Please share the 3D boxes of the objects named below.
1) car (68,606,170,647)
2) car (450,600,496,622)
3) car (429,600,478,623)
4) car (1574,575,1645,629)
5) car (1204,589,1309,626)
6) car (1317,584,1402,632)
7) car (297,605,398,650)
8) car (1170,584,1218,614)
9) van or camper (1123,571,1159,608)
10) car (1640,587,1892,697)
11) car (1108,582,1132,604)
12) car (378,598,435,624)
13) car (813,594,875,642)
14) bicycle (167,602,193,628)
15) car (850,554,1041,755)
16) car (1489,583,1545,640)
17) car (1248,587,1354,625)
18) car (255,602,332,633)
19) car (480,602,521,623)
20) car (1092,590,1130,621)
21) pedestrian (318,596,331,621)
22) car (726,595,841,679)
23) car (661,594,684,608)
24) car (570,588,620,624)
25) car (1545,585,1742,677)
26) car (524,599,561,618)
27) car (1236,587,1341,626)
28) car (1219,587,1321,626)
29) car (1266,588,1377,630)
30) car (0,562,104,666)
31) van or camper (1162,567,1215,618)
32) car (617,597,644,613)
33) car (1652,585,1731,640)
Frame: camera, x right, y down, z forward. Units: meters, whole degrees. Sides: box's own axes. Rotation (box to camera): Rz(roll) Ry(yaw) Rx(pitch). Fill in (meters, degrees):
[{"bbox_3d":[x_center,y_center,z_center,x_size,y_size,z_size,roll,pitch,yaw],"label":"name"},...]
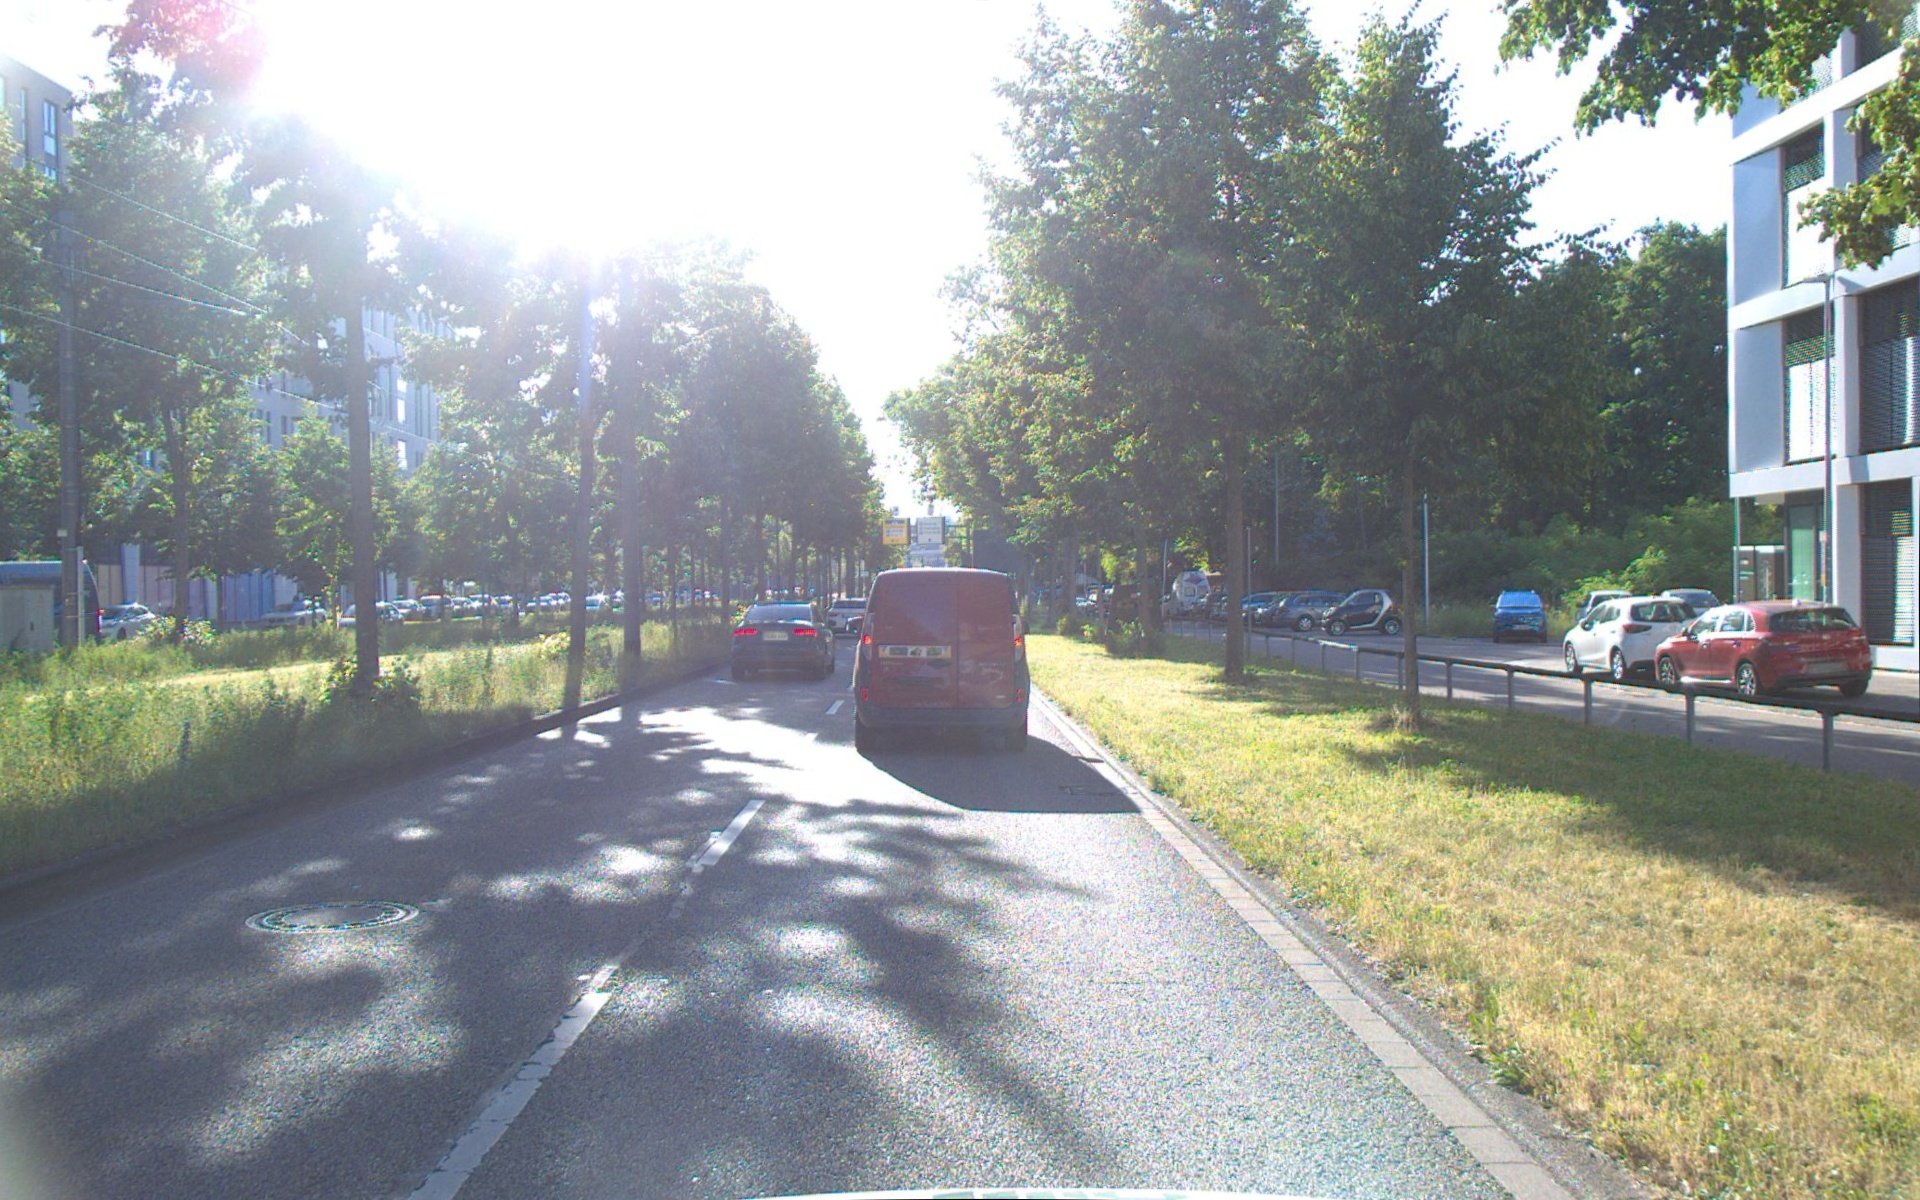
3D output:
[{"bbox_3d":[-31.887,0.966,62.855,1.954,1.466,4.017,1,0,-3],"label":"car"},{"bbox_3d":[-33.294,0.738,113.220,1.954,1.466,4.933,1,0,-3],"label":"car"},{"bbox_3d":[-32.866,0.728,107.426,1.954,1.466,4.453,1,0,-3],"label":"car"},{"bbox_3d":[19.717,0.064,50.352,1.710,1.563,3.883,1,0,17],"label":"car"},{"bbox_3d":[14.287,0.344,79.764,4.624,1.430,2.000,-4,0,-1],"label":"car"},{"bbox_3d":[13.924,0.281,57.720,2.707,1.577,1.463,-2,-1,8],"label":"car"},{"bbox_3d":[-21.303,0.917,57.703,1.953,1.466,4.454,1,0,-2],"label":"car"},{"bbox_3d":[12.805,-0.057,90.565,1.953,1.601,3.999,1,0,-1],"label":"car"},{"bbox_3d":[14.388,-0.874,131.832,2.503,2.731,6.568,-3,0,4],"label":"van or camper"},{"bbox_3d":[12.700,0.627,26.390,1.827,1.512,4.272,-3,0,-1],"label":"car"},{"bbox_3d":[14.816,-0.653,153.659,2.043,2.049,4.945,0,0,4],"label":"car"},{"bbox_3d":[-32.410,0.638,96.904,1.954,1.466,4.776,1,0,-3],"label":"car"},{"bbox_3d":[-4.141,0.640,59.558,1.953,1.646,3.999,1,0,-1],"label":"car"},{"bbox_3d":[-39.191,0.738,83.156,0.586,1.303,1.607,1,0,-3],"label":"bicycle"},{"bbox_3d":[-0.259,0.519,17.605,1.773,1.870,3.997,1,0,-4],"label":"car"},{"bbox_3d":[17.088,0.324,50.791,1.560,1.572,3.822,-1,1,18],"label":"car"},{"bbox_3d":[14.580,0.252,70.770,4.108,1.524,1.781,-1,0,-4],"label":"car"},{"bbox_3d":[-32.366,0.828,80.462,1.954,1.466,4.922,1,0,-3],"label":"car"},{"bbox_3d":[-33.271,0.918,119.922,1.954,1.466,4.453,1,0,-3],"label":"car"},{"bbox_3d":[8.379,0.306,91.656,1.951,1.668,4.003,1,0,7],"label":"car"},{"bbox_3d":[-42.737,0.553,111.268,0.624,1.680,0.719,1,0,-8],"label":"pedestrian"},{"bbox_3d":[-3.264,0.658,31.270,1.755,1.453,3.999,1,0,-1],"label":"car"},{"bbox_3d":[-34.491,0.100,198.306,1.953,1.636,4.610,1,0,0],"label":"car"},{"bbox_3d":[-22.068,0.362,100.100,1.952,2.049,4.001,1,0,2],"label":"car"},{"bbox_3d":[12.851,0.546,31.426,1.952,1.512,4.403,-3,0,2],"label":"car"},{"bbox_3d":[-33.046,0.654,131.012,1.918,1.466,4.265,1,0,-1],"label":"car"},{"bbox_3d":[14.708,0.286,74.200,4.244,1.503,1.905,-3,1,-5],"label":"car"},{"bbox_3d":[14.354,0.299,76.805,4.291,1.435,2.000,-5,0,1],"label":"car"},{"bbox_3d":[14.271,0.369,65.418,3.996,1.493,1.715,-2,0,0],"label":"car"},{"bbox_3d":[-23.893,0.304,41.159,2.457,2.423,6.021,1,0,-5],"label":"car"},{"bbox_3d":[13.273,-0.424,96.289,1.954,2.778,4.960,-3,0,-4],"label":"van or camper"},{"bbox_3d":[-35.015,0.491,175.931,1.841,1.649,4.610,1,0,0],"label":"car"},{"bbox_3d":[21.827,0.373,49.483,1.681,1.567,3.953,1,0,17],"label":"car"}]
